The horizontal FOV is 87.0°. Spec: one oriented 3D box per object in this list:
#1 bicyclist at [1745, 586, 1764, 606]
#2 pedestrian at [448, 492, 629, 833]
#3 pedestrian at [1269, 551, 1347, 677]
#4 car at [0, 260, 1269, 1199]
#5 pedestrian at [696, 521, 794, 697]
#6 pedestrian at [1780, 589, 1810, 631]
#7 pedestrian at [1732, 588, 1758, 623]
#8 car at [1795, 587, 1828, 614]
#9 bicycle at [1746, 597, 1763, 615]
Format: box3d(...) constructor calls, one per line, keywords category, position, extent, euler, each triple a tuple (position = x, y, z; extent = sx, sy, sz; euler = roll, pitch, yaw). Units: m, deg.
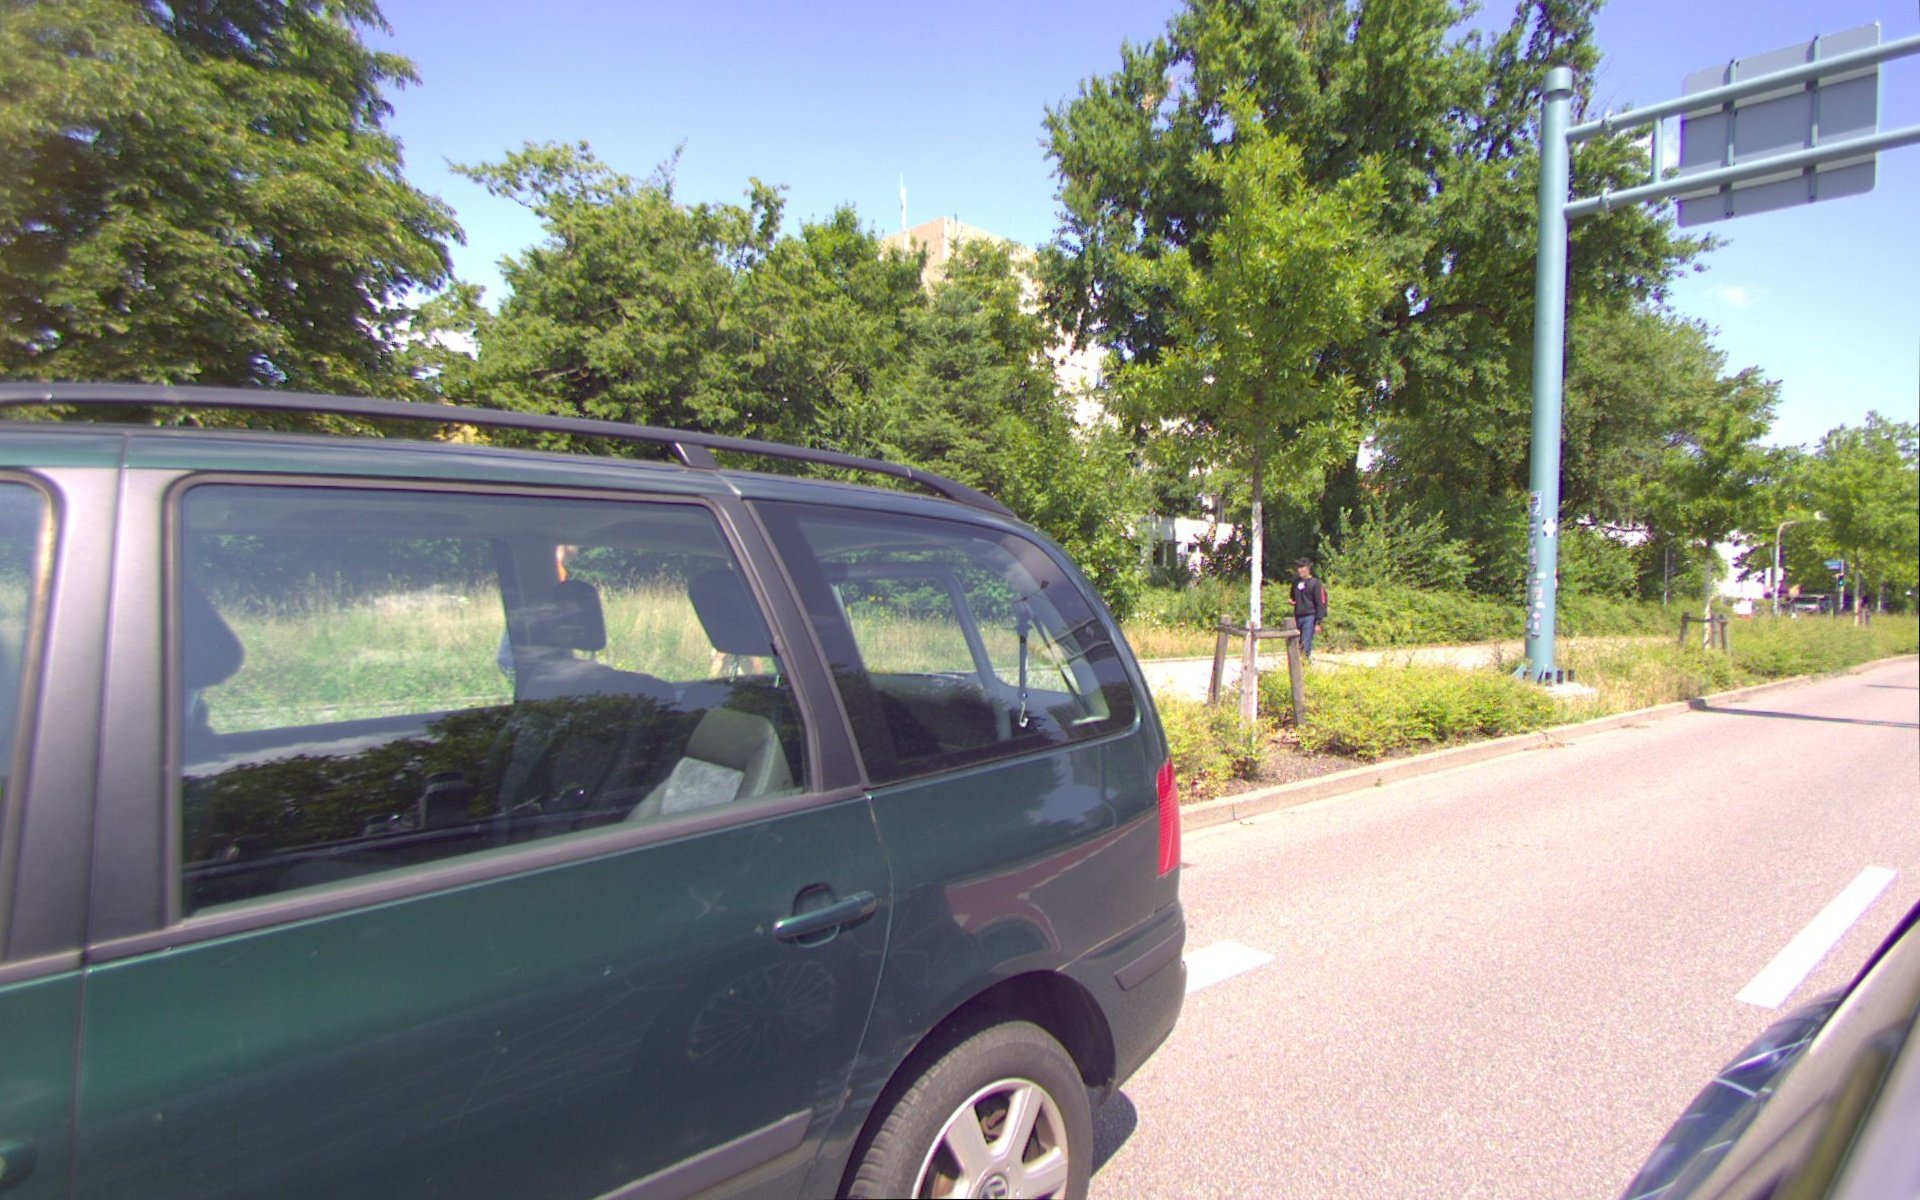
box3d(category="bicyclist", position=(58.223, -0.291, 74.169), extent=(0.968, 1.462, 1.060), euler=(1, 1, 42))
box3d(category="pedestrian", position=(-2.630, 0.342, 6.291), extent=(0.760, 1.916, 0.952), euler=(1, 0, -40))
box3d(category="pedestrian", position=(5.018, 0.186, 14.589), extent=(0.822, 1.743, 0.718), euler=(0, 1, -39))
box3d(category="car", position=(-1.483, 0.545, 1.676), extent=(4.311, 1.756, 1.815), euler=(0, 0, -41))
box3d(category="pedestrian", position=(-2.244, 0.082, 10.564), extent=(0.733, 1.743, 0.724), euler=(0, 1, -39))
box3d(category="pedestrian", position=(35.698, 0.409, 43.250), extent=(0.913, 1.743, 0.815), euler=(0, 1, -39))
box3d(category="pedestrian", position=(43.612, 0.312, 56.222), extent=(0.864, 1.896, 0.970), euler=(0, 1, -44))
box3d(category="car", position=(69.246, 0.051, 82.304), extent=(1.992, 2.080, 4.167), euler=(2, 1, 41))
box3d(category="bicycle", position=(58.365, 0.421, 74.353), extent=(0.882, 1.267, 2.133), euler=(1, 1, 41))
